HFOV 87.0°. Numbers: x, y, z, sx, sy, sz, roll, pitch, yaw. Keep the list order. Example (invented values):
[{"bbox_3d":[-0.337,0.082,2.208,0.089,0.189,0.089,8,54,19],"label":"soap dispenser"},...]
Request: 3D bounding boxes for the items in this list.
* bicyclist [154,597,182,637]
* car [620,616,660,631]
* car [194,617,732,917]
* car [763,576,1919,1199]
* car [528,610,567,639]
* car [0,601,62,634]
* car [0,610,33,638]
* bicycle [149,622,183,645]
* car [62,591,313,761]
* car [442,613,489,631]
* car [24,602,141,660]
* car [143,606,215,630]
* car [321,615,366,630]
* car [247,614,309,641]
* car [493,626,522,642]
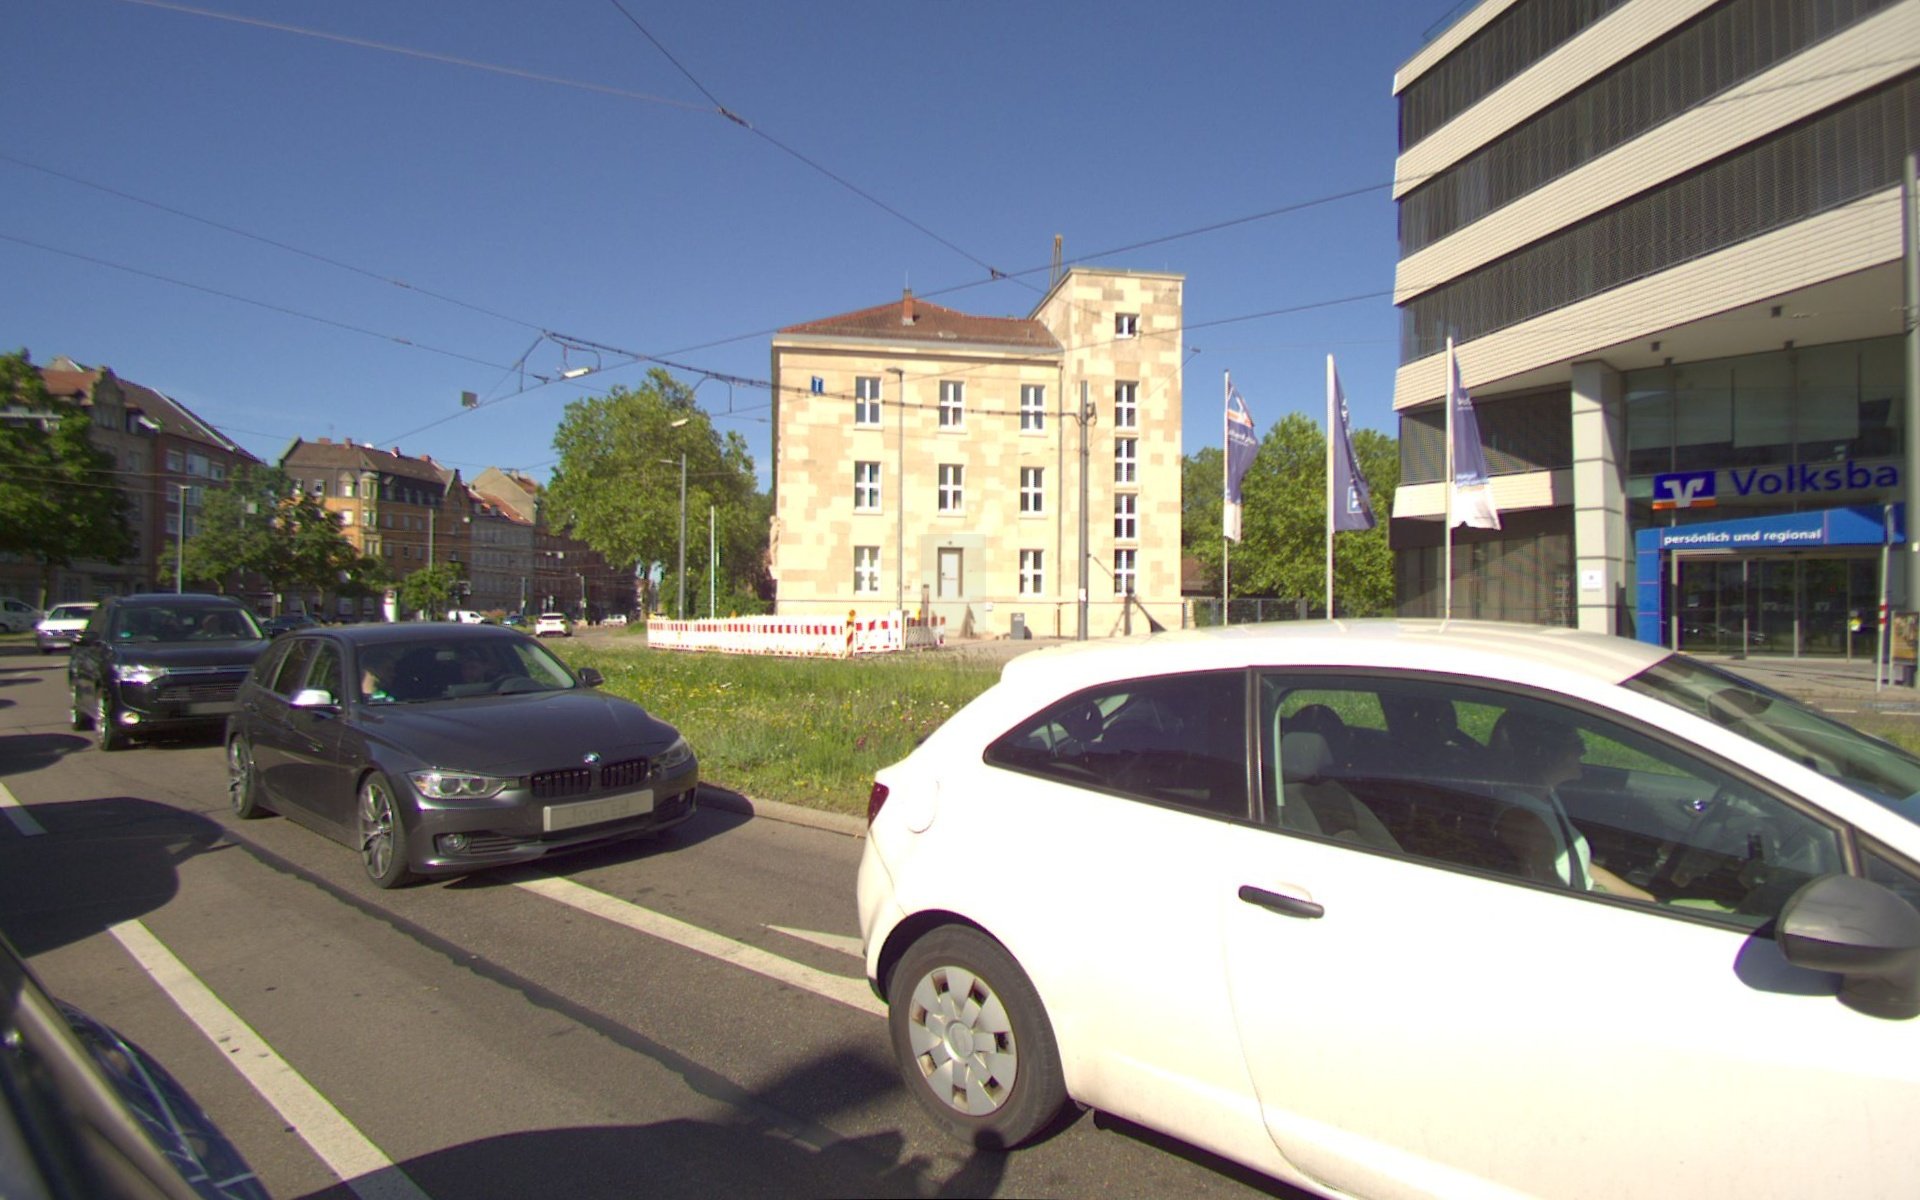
[{"bbox_3d":[-40.848,0.884,52.196,0.834,2.029,1.200,1,-1,-24],"label":"bicyclist"},{"bbox_3d":[-37.222,2.781,117.743,4.008,1.669,1.768,2,-2,-43],"label":"car"},{"bbox_3d":[-3.593,0.830,6.883,4.424,1.377,1.719,-1,0,41],"label":"car"},{"bbox_3d":[1.486,0.697,2.484,4.020,1.452,1.714,0,2,40],"label":"car"},{"bbox_3d":[-24.863,1.470,60.906,1.794,1.658,4.195,0,-1,-27],"label":"car"},{"bbox_3d":[-49.925,0.897,52.796,4.514,1.680,1.601,2,-2,-43],"label":"car"},{"bbox_3d":[-48.760,1.157,50.389,3.768,1.390,1.602,2,-2,-41],"label":"car"},{"bbox_3d":[-40.809,1.718,52.044,0.751,1.153,2.290,1,-1,-22],"label":"bicycle"},{"bbox_3d":[-9.375,0.776,12.134,1.817,1.658,4.400,-1,-1,-45],"label":"car"},{"bbox_3d":[-56.546,2.484,115.837,4.515,1.889,2.005,-1,0,-11],"label":"car"},{"bbox_3d":[-33.725,1.174,39.055,1.949,2.101,4.729,1,-1,-22],"label":"car"},{"bbox_3d":[-53.926,1.280,69.877,3.771,1.603,1.601,2,-2,-44],"label":"car"},{"bbox_3d":[-69.627,2.529,114.414,4.001,1.669,1.772,1,-1,-16],"label":"car"},{"bbox_3d":[-40.118,1.591,59.612,1.809,1.483,4.728,1,-1,-19],"label":"car"},{"bbox_3d":[-48.360,3.647,108.255,1.811,1.659,4.157,1,-1,-10],"label":"car"}]
